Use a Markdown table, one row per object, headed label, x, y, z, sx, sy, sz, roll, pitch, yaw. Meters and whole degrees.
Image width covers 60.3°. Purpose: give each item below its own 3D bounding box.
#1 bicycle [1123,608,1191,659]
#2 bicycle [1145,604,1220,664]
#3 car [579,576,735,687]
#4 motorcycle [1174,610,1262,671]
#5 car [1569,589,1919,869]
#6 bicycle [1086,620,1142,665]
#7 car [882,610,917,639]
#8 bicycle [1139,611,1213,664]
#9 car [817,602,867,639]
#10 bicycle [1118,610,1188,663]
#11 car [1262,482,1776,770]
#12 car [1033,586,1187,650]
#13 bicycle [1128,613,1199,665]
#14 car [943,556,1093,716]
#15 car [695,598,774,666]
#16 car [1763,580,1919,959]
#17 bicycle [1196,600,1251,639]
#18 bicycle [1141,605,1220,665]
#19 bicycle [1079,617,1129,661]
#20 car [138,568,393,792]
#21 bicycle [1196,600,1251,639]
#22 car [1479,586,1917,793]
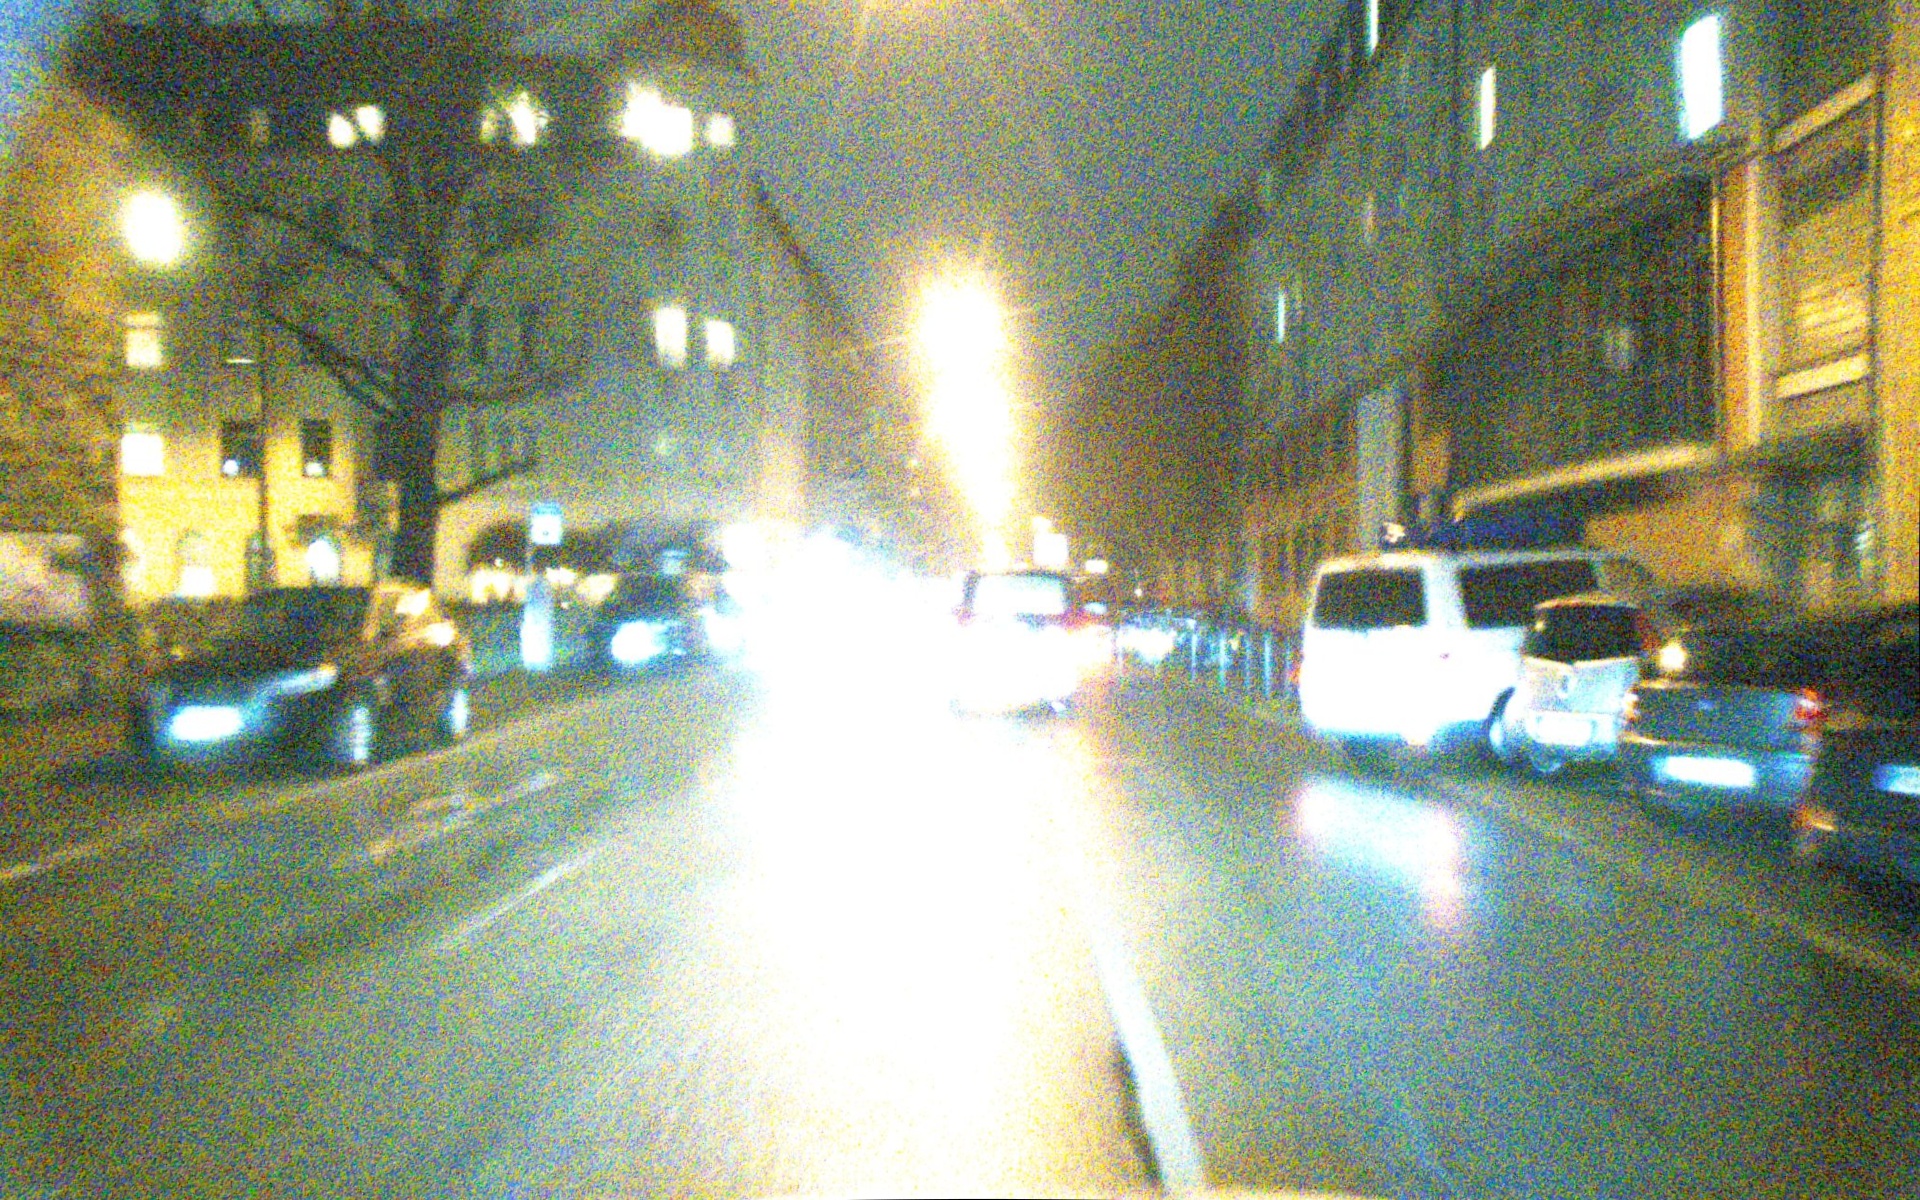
| label | x | y | z | sx | sy | sz | roll | pitch | yaw |
| --- | --- | --- | --- | --- | --- | --- | --- | --- | --- |
| bicycle | 4.700 | 0.796 | 39.432 | 1.561 | 1.178 | 0.540 | -1 | 0 | 9 |
| bicycle | 4.817 | 0.735 | 35.844 | 1.546 | 1.256 | 0.418 | -1 | 0 | 3 |
| car | -5.464 | 0.542 | 30.416 | 1.828 | 1.878 | 4.828 | 0 | 0 | 2 |
| motorcycle | 5.181 | 0.806 | 33.237 | 1.601 | 1.143 | 0.652 | -2 | 0 | -6 |
| car | 5.933 | 0.720 | 10.968 | 3.680 | 1.494 | 1.597 | -2 | 1 | -30 |
| bicycle | 3.396 | 0.946 | 36.582 | 1.186 | 0.964 | 0.302 | 1 | 0 | -3 |
| car | -3.344 | 1.339 | 91.543 | 1.651 | 1.481 | 4.316 | 2 | 0 | 1 |
| bicycle | 4.812 | 0.835 | 36.893 | 1.563 | 1.131 | 0.417 | -1 | 0 | -3 |
| car | -4.656 | 0.801 | 65.703 | 1.620 | 1.383 | 4.222 | 1 | 0 | 1 |
| bicycle | 4.457 | 0.848 | 38.227 | 1.563 | 1.178 | 0.417 | -1 | 0 | -3 |
| car | 5.459 | 0.212 | 15.963 | 4.881 | 2.382 | 2.206 | 0 | 0 | -34 |
| car | 3.922 | 0.465 | 43.155 | 3.652 | 1.549 | 1.644 | -2 | 0 | -24 |
| bicycle | 4.635 | 0.881 | 37.790 | 1.563 | 1.178 | 0.417 | 0 | 0 | -3 |
| car | 0.820 | 0.508 | 23.885 | 1.952 | 2.086 | 4.000 | 1 | -1 | 1 |
| car | -5.443 | 0.732 | 39.604 | 1.520 | 1.468 | 3.551 | 2 | 0 | -13 |
| car | 5.832 | 0.700 | 7.765 | 3.994 | 1.588 | 1.734 | 0 | 0 | -29 |
| bicycle | 8.594 | 0.637 | 54.000 | 1.653 | 1.166 | 0.485 | -3 | 0 | -7 |
| bicycle | 4.707 | 0.744 | 35.328 | 1.629 | 1.256 | 0.386 | -1 | 0 | 3 |
| bicycle | 3.372 | 0.918 | 38.686 | 1.109 | 0.991 | 0.249 | -2 | 0 | -2 |
| car | -6.095 | 0.602 | 14.952 | 1.784 | 1.699 | 4.387 | 0 | 0 | -19 |
| bicycle | 8.528 | 0.633 | 53.467 | 1.653 | 1.166 | 0.428 | -3 | 0 | -7 |
| car | 6.165 | 0.662 | 13.781 | 3.405 | 1.494 | 1.614 | -1 | 0 | -29 |
